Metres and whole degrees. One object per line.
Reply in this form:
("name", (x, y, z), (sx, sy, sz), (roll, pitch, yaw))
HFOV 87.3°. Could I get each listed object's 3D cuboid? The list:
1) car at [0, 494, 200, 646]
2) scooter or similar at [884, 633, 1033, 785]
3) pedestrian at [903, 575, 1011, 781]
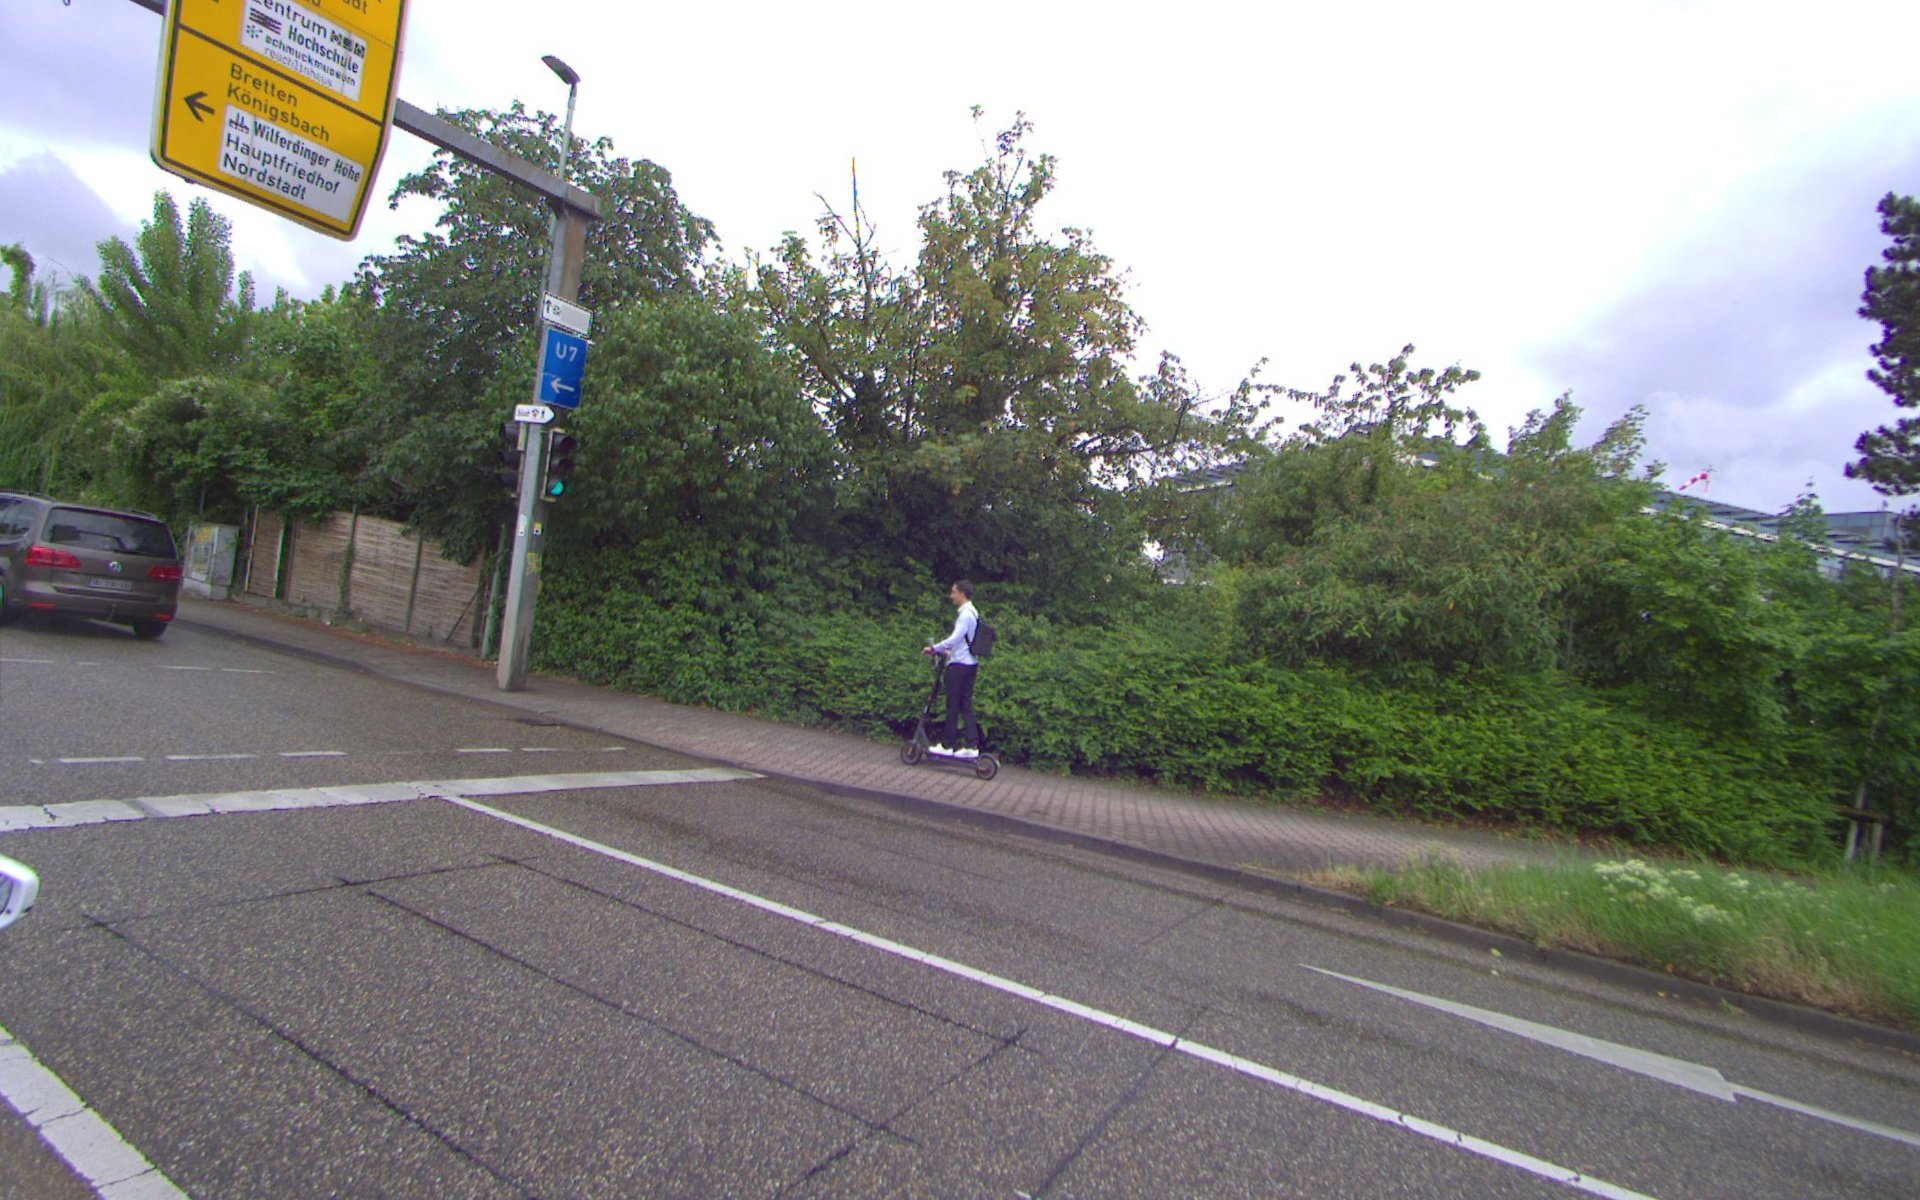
("car", (-11.985, -0.490, 13.106), (3.999, 1.593, 1.740), (7, -2, 30))
("scooter or similar", (-0.018, 1.121, 10.613), (1.360, 1.378, 0.462), (7, 0, 25))
("pedestrian", (-0.026, 0.809, 10.623), (0.705, 2.026, 0.657), (7, 0, 24))
